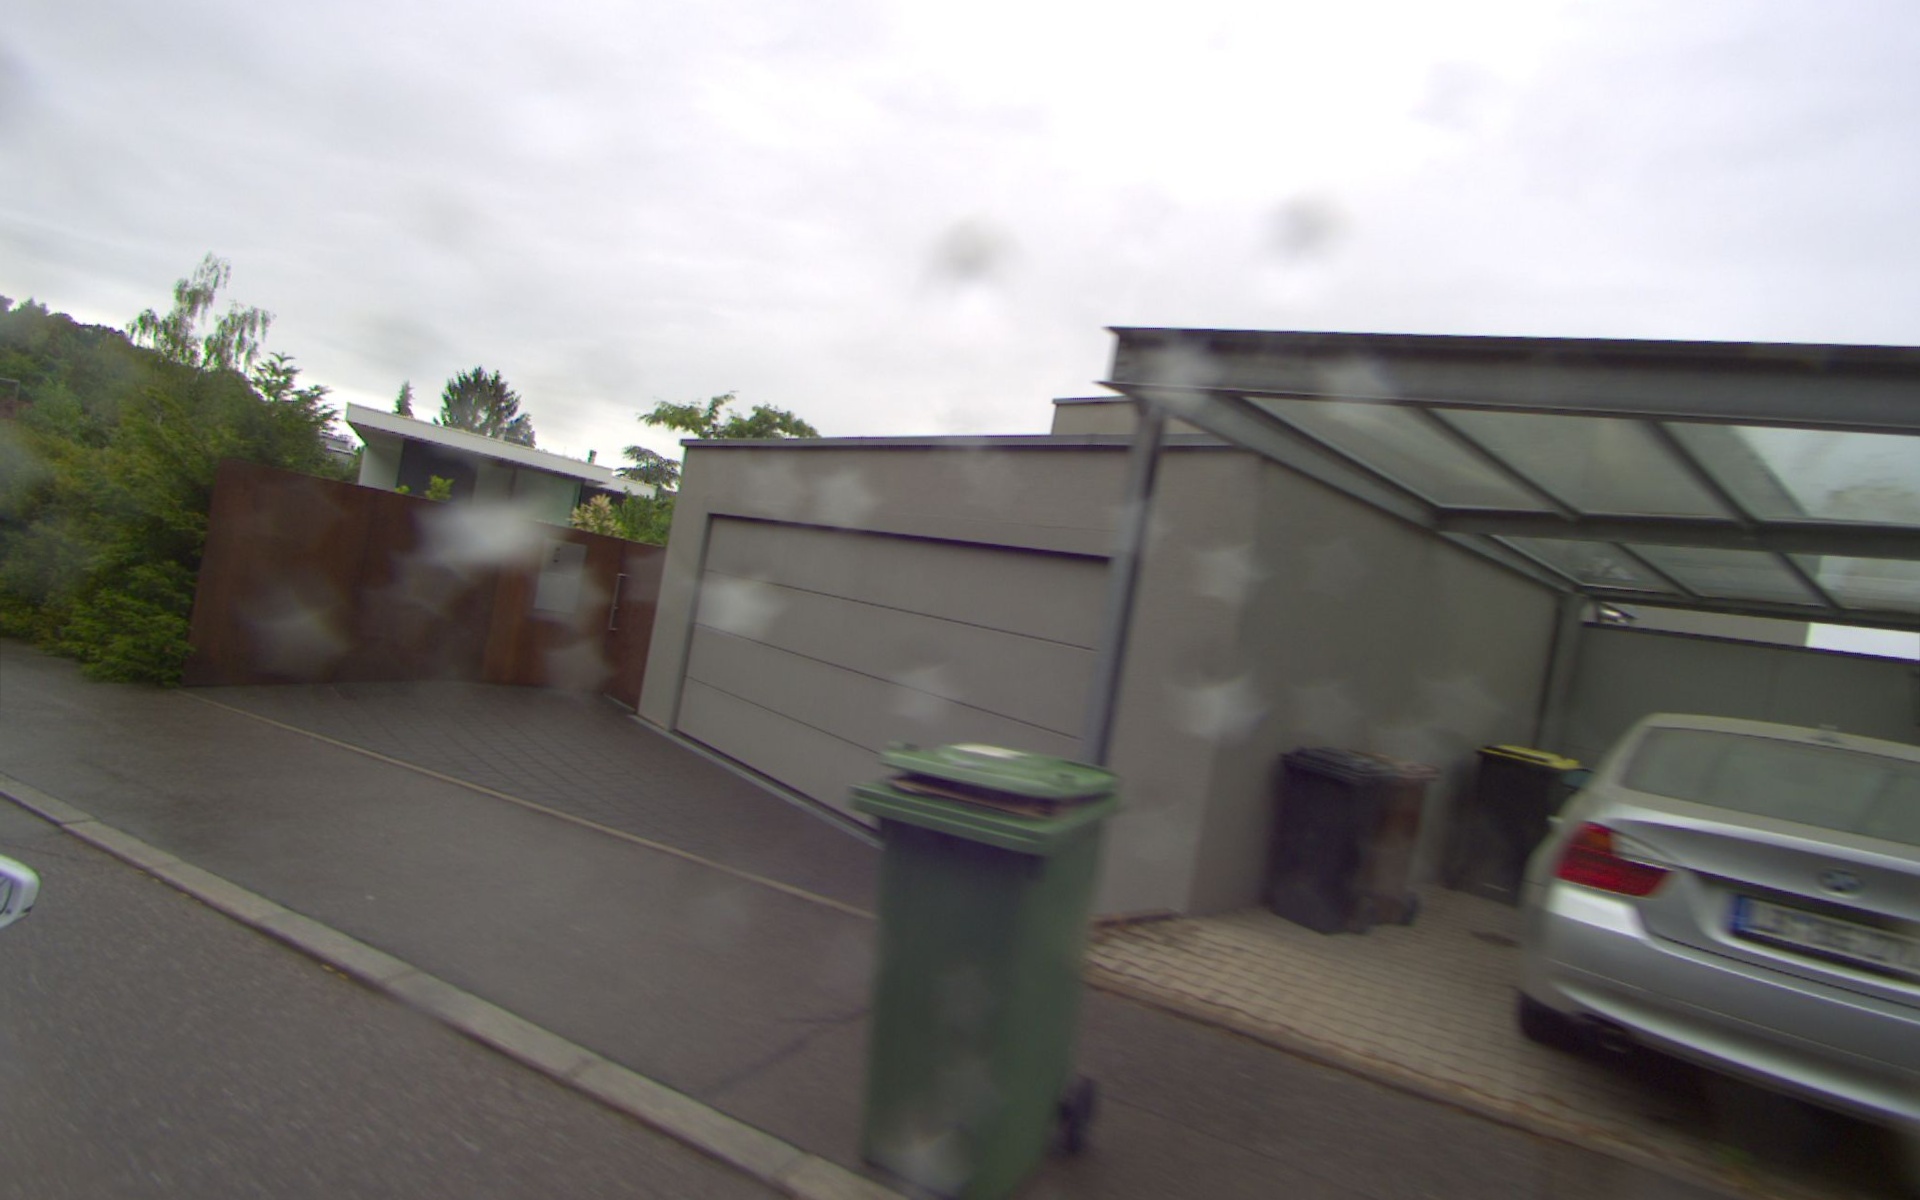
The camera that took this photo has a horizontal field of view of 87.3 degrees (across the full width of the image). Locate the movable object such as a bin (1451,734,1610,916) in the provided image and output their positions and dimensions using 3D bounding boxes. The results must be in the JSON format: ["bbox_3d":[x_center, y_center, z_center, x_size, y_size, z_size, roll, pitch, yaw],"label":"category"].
[{"bbox_3d":[3.993,1.539,7.027,0.950,1.071,0.564,8,2,-43],"label":"movable object such as a bin"}]

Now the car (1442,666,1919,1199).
[{"bbox_3d":[3.736,1.279,4.504,1.912,1.430,4.220,7,-3,38],"label":"car"}]

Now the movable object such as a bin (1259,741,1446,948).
[{"bbox_3d":[2.200,1.319,5.609,0.945,0.966,0.497,7,1,-42],"label":"movable object such as a bin"}]

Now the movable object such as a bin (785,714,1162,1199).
[{"bbox_3d":[0.067,0.952,2.809,0.663,1.110,0.790,7,3,28],"label":"movable object such as a bin"}]
